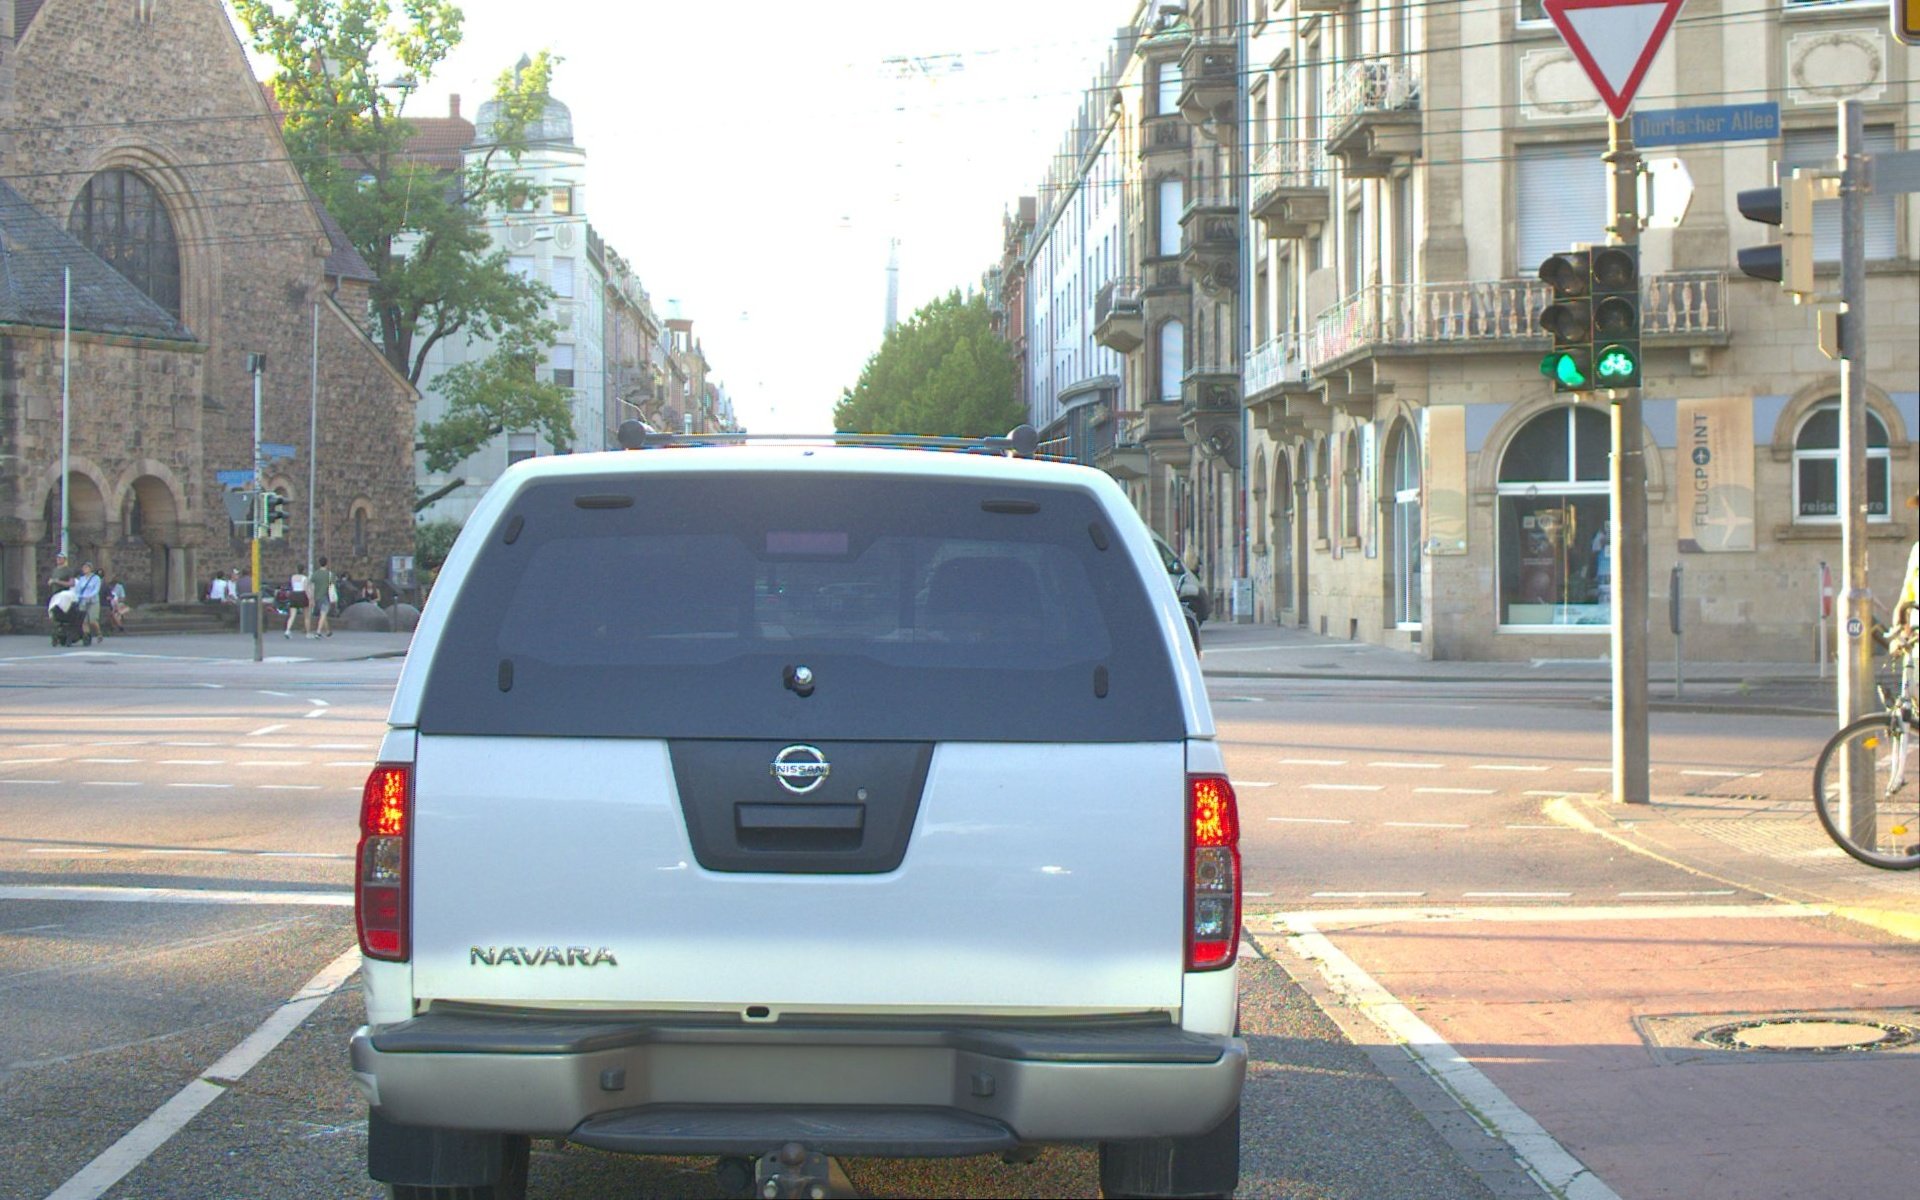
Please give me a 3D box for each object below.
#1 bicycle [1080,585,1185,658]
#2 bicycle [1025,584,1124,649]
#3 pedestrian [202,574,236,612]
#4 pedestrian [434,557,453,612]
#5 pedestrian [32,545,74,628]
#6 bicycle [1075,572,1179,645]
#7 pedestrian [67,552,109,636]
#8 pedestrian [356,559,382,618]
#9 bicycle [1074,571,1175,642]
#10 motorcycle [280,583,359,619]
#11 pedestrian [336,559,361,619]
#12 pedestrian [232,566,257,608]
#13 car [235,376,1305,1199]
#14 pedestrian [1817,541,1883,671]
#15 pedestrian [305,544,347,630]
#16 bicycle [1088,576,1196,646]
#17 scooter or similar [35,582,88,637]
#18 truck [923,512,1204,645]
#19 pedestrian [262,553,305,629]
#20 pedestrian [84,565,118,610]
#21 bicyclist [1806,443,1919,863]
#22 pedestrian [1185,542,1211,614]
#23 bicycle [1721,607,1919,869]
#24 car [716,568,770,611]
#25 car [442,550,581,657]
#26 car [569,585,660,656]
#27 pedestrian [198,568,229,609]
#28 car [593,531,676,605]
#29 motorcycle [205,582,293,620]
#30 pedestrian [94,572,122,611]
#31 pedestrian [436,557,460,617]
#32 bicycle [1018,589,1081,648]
[{"bbox_3d":[3.161,0.391,63.024,1.817,1.233,0.488,-3,0,-3],"label":"bicycle"},{"bbox_3d":[2.084,0.307,62.548,1.726,1.080,0.317,-3,0,-2],"label":"bicycle"},{"bbox_3d":[-19.031,-0.182,88.281,0.552,0.957,0.709,1,0,20],"label":"pedestrian"},{"bbox_3d":[-16.009,-0.491,106.513,0.560,1.690,0.645,1,0,-8],"label":"pedestrian"},{"bbox_3d":[-18.587,-0.271,70.464,0.634,1.693,0.602,1,0,9],"label":"pedestrian"},{"bbox_3d":[3.099,0.154,63.735,1.817,1.233,0.478,-3,0,-3],"label":"bicycle"},{"bbox_3d":[-17.878,-0.123,70.501,0.634,1.693,0.602,1,0,10],"label":"pedestrian"},{"bbox_3d":[-17.125,-0.341,99.670,0.642,1.690,0.562,1,0,-1],"label":"pedestrian"},{"bbox_3d":[3.112,0.120,65.066,1.817,1.233,0.410,-3,0,-3],"label":"bicycle"},{"bbox_3d":[-17.857,0.035,95.856,2.167,0.984,0.593,1,0,19],"label":"motorcycle"},{"bbox_3d":[-17.316,-0.303,97.368,0.642,1.690,0.562,1,0,-9],"label":"pedestrian"},{"bbox_3d":[-16.673,-0.301,80.080,0.521,0.957,0.479,1,0,-16],"label":"pedestrian"},{"bbox_3d":[-0.383,0.496,8.485,1.993,1.803,4.000,1,0,-1],"label":"car"},{"bbox_3d":[12.291,0.079,47.474,0.788,1.773,0.543,1,0,25],"label":"pedestrian"},{"bbox_3d":[-14.084,-0.296,76.387,0.812,1.894,0.666,1,0,-3],"label":"pedestrian"},{"bbox_3d":[3.283,0.195,62.084,1.817,1.146,0.636,-3,0,-3],"label":"bicycle"},{"bbox_3d":[-18.116,0.188,69.336,0.634,1.099,1.078,0,0,11],"label":"scooter or similar"},{"bbox_3d":[2.116,-0.417,68.641,5.658,2.556,2.286,0,0,-44],"label":"truck"},{"bbox_3d":[-15.017,-0.206,76.320,0.812,1.664,0.860,1,0,-3],"label":"pedestrian"},{"bbox_3d":[-18.617,-0.275,74.538,0.522,0.957,0.479,1,0,19],"label":"pedestrian"},{"bbox_3d":[4.261,0.232,15.323,0.696,1.818,0.628,1,0,-33],"label":"bicyclist"},{"bbox_3d":[5.432,-0.499,78.518,0.527,1.649,0.547,1,0,-1],"label":"pedestrian"},{"bbox_3d":[4.389,0.595,15.407,2.065,1.106,0.628,1,0,-33],"label":"bicycle"},{"bbox_3d":[-7.907,-0.384,125.575,1.858,1.524,4.000,1,0,-2],"label":"car"},{"bbox_3d":[-7.991,0.026,61.647,1.993,1.778,4.798,1,1,-2],"label":"car"},{"bbox_3d":[-7.922,0.465,78.943,1.993,1.552,4.769,-1,0,-6],"label":"car"},{"bbox_3d":[-17.419,-0.261,80.249,0.522,0.957,0.479,1,0,17],"label":"pedestrian"},{"bbox_3d":[-9.074,-0.920,96.161,1.993,2.007,4.951,-1,1,-2],"label":"car"},{"bbox_3d":[-18.923,0.022,91.539,2.243,0.984,0.708,1,0,-6],"label":"motorcycle"},{"bbox_3d":[-21.290,-0.209,85.919,0.551,0.957,0.710,1,0,-25],"label":"pedestrian"},{"bbox_3d":[-15.748,-0.404,105.675,0.642,1.849,0.562,1,0,-15],"label":"pedestrian"},{"bbox_3d":[1.649,0.346,63.431,1.076,1.021,0.317,-3,0,-3],"label":"bicycle"}]
